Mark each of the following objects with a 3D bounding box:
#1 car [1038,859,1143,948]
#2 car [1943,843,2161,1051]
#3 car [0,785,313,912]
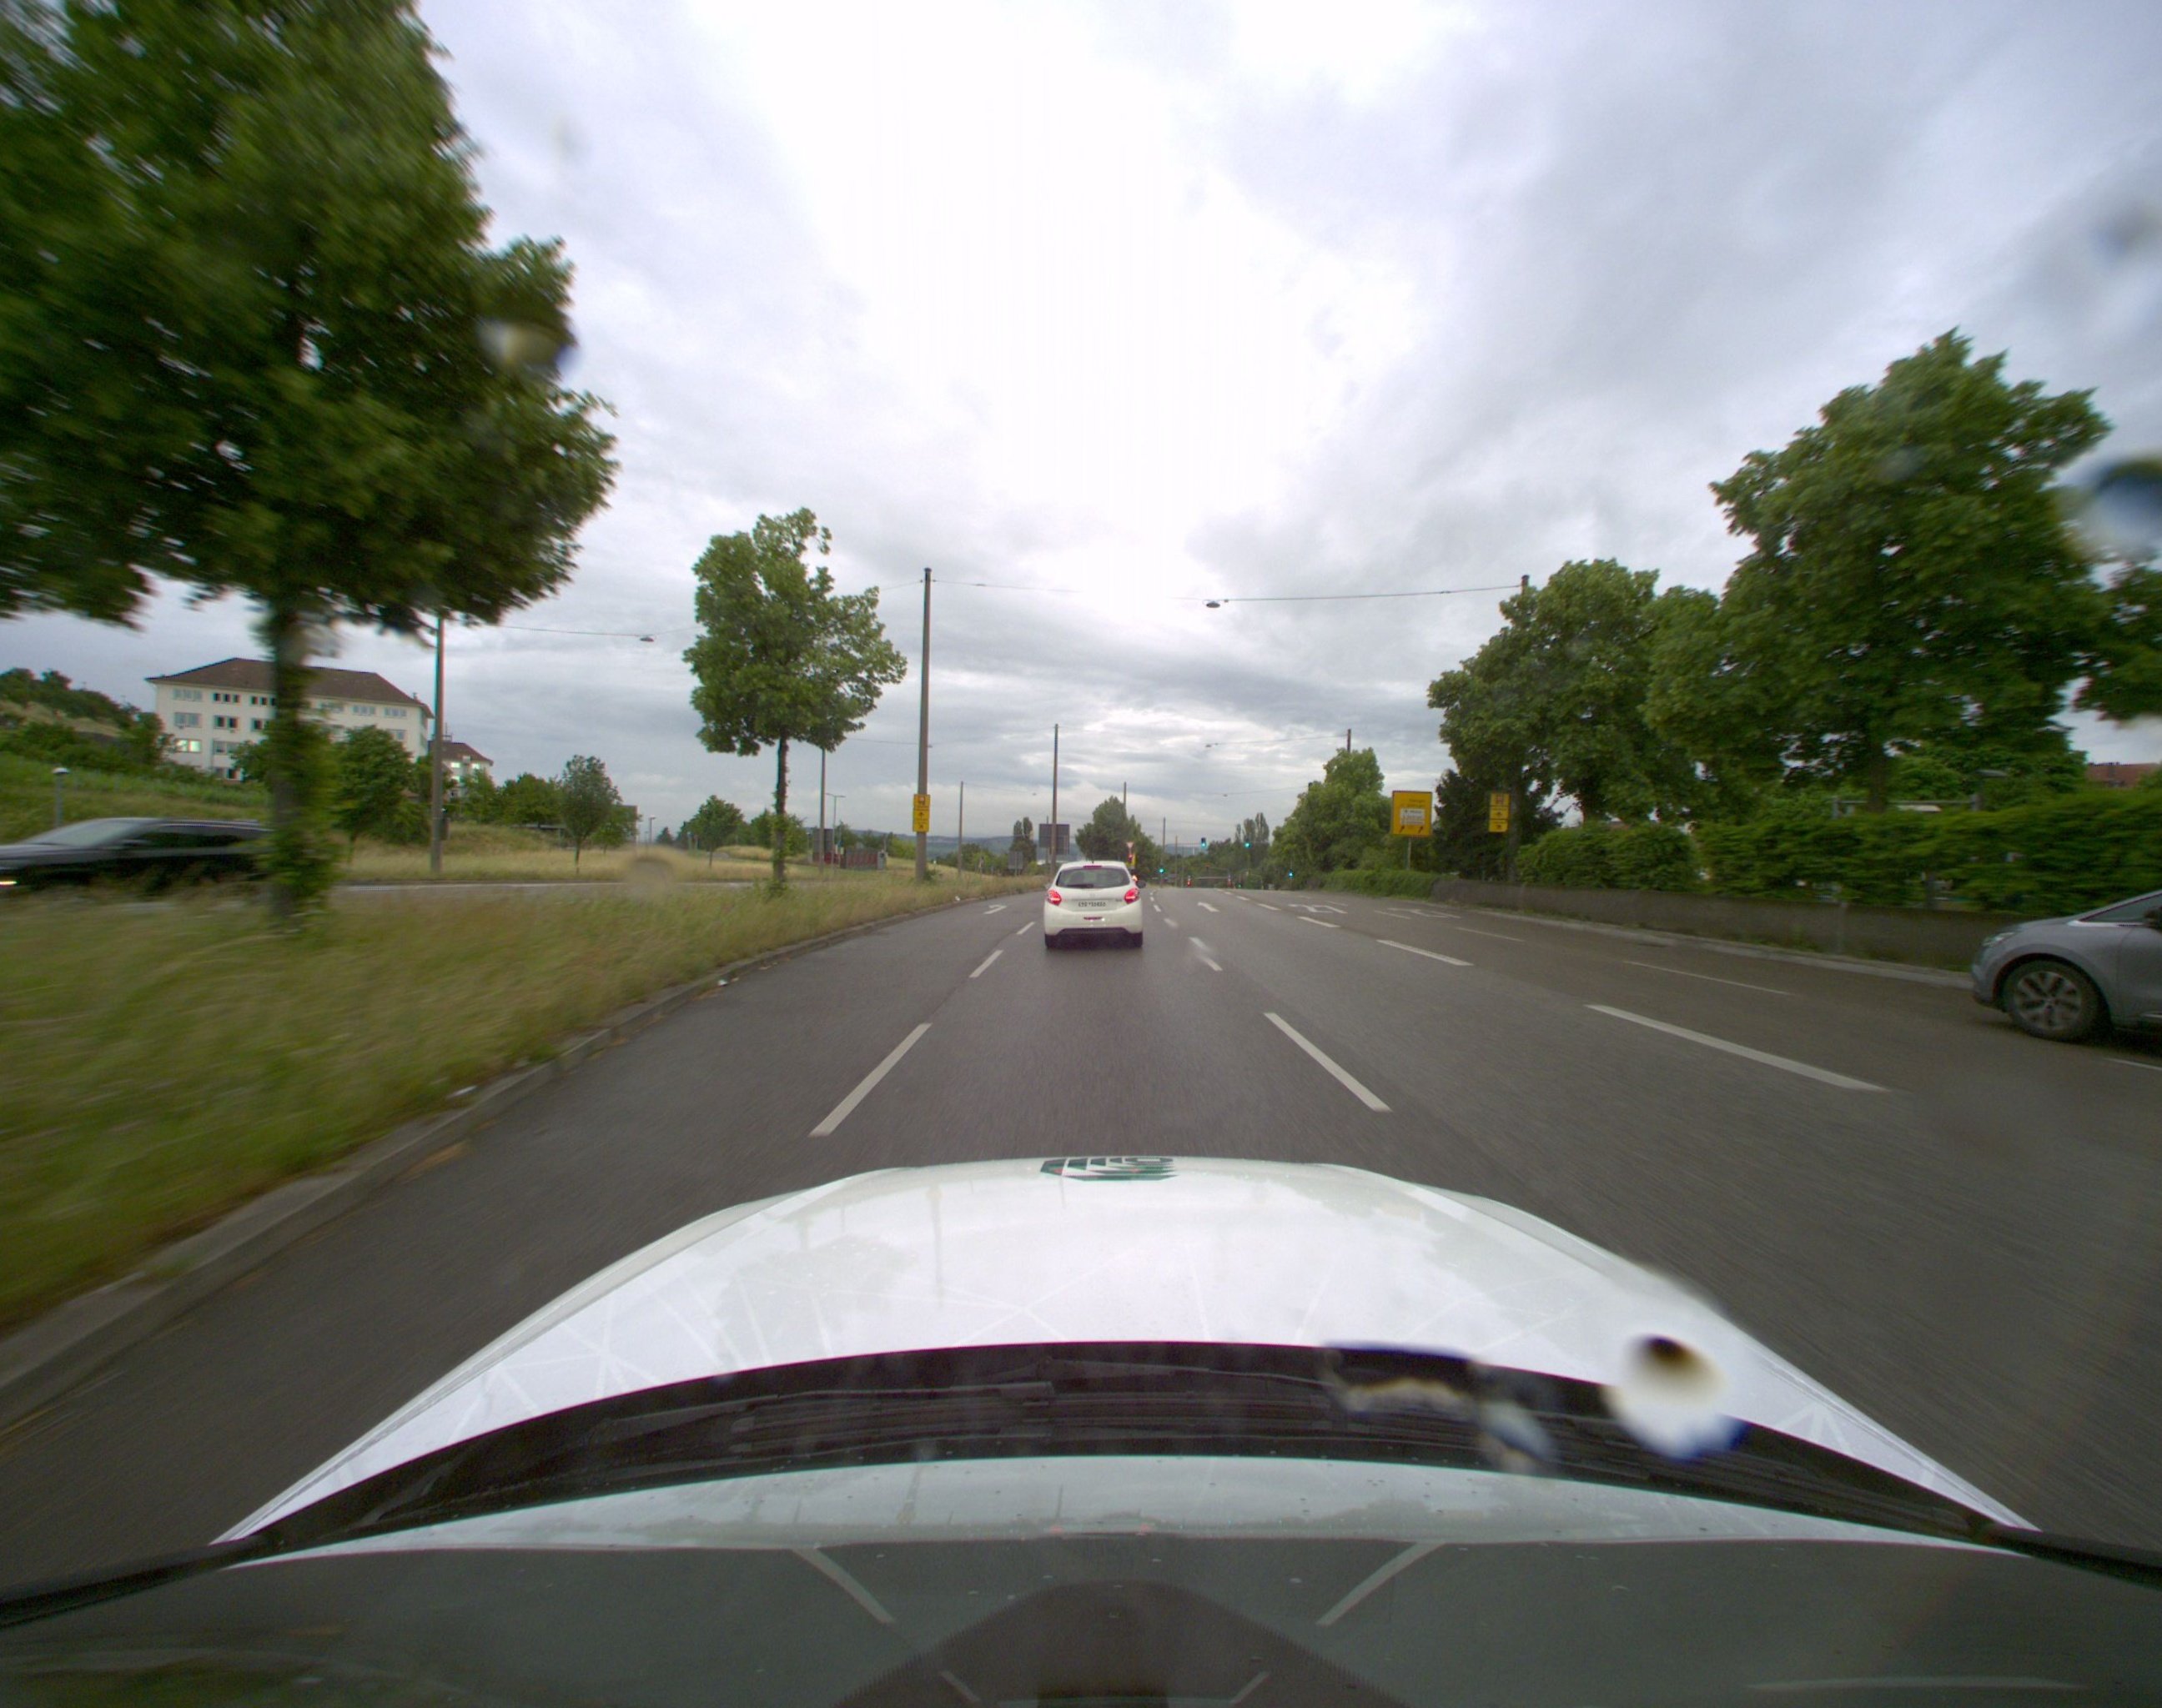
[{"bbox_3d":[0.293,0.819,15.131,1.701,1.440,3.694,-1,0,4],"label":"car"},{"bbox_3d":[9.448,0.773,5.828,1.719,1.649,4.626,3,0,2],"label":"car"},{"bbox_3d":[-15.414,-0.079,13.270,1.759,1.750,4.005,1,0,5],"label":"car"}]
